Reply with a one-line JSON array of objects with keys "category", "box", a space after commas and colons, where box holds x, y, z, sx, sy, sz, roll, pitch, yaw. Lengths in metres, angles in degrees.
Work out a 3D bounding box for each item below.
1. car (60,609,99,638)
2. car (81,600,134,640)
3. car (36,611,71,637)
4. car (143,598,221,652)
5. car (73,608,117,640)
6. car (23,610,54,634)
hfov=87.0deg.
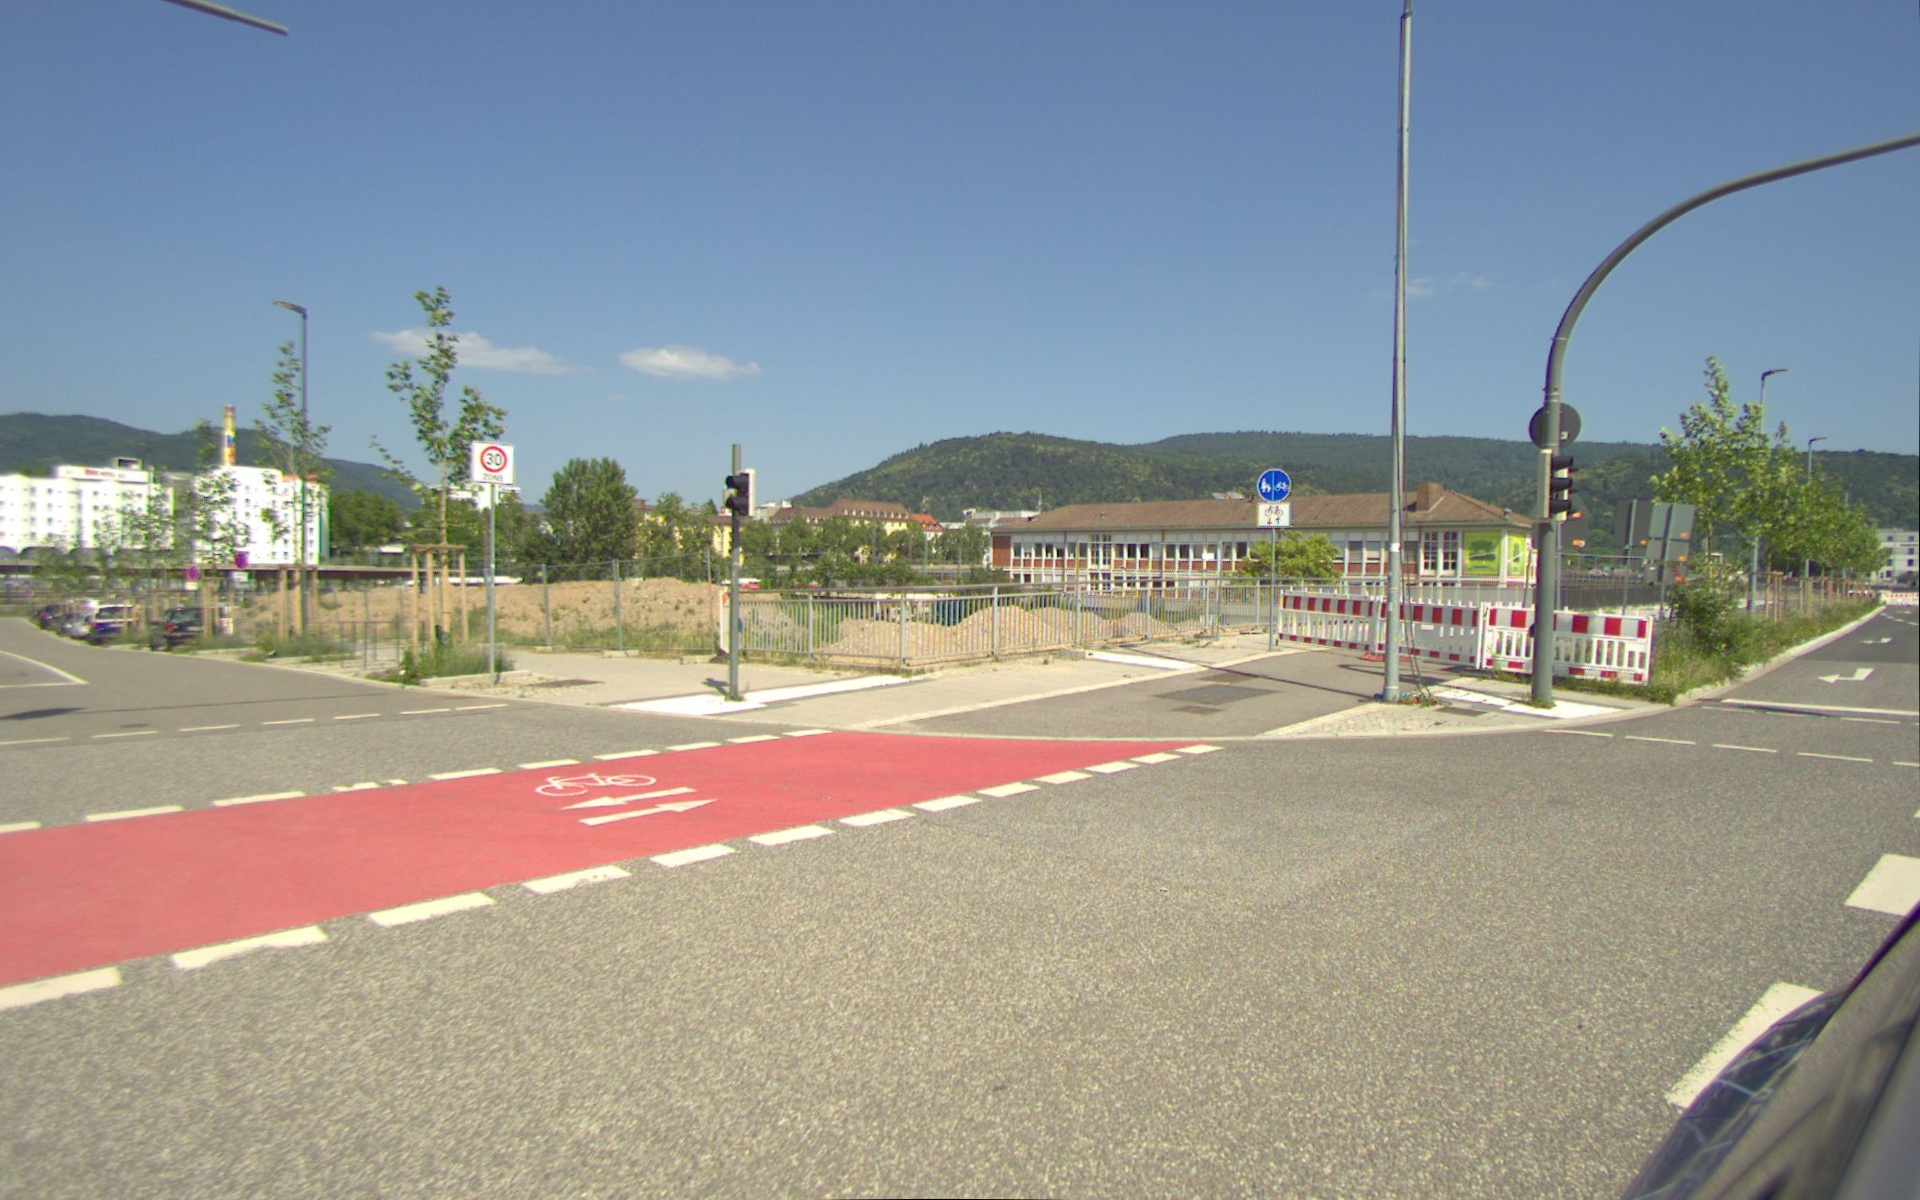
[{"category": "car", "box": [-53.706, 1.459, 61.710, 1.630, 1.644, 3.682, 0, -2, -44]}, {"category": "car", "box": [-39.948, 0.949, 47.404, 1.630, 1.644, 3.682, 0, -4, -44]}, {"category": "car", "box": [-61.406, 1.605, 68.525, 1.630, 1.644, 3.682, 0, -2, -44]}, {"category": "car", "box": [-25.703, 0.766, 33.381, 1.630, 1.614, 3.684, 0, 1, -44]}, {"category": "car", "box": [-47.877, 1.357, 56.003, 1.630, 1.644, 3.682, 0, -2, -44]}, {"category": "car", "box": [-69.196, 1.644, 75.982, 1.630, 1.644, 3.682, 0, -2, -44]}]
